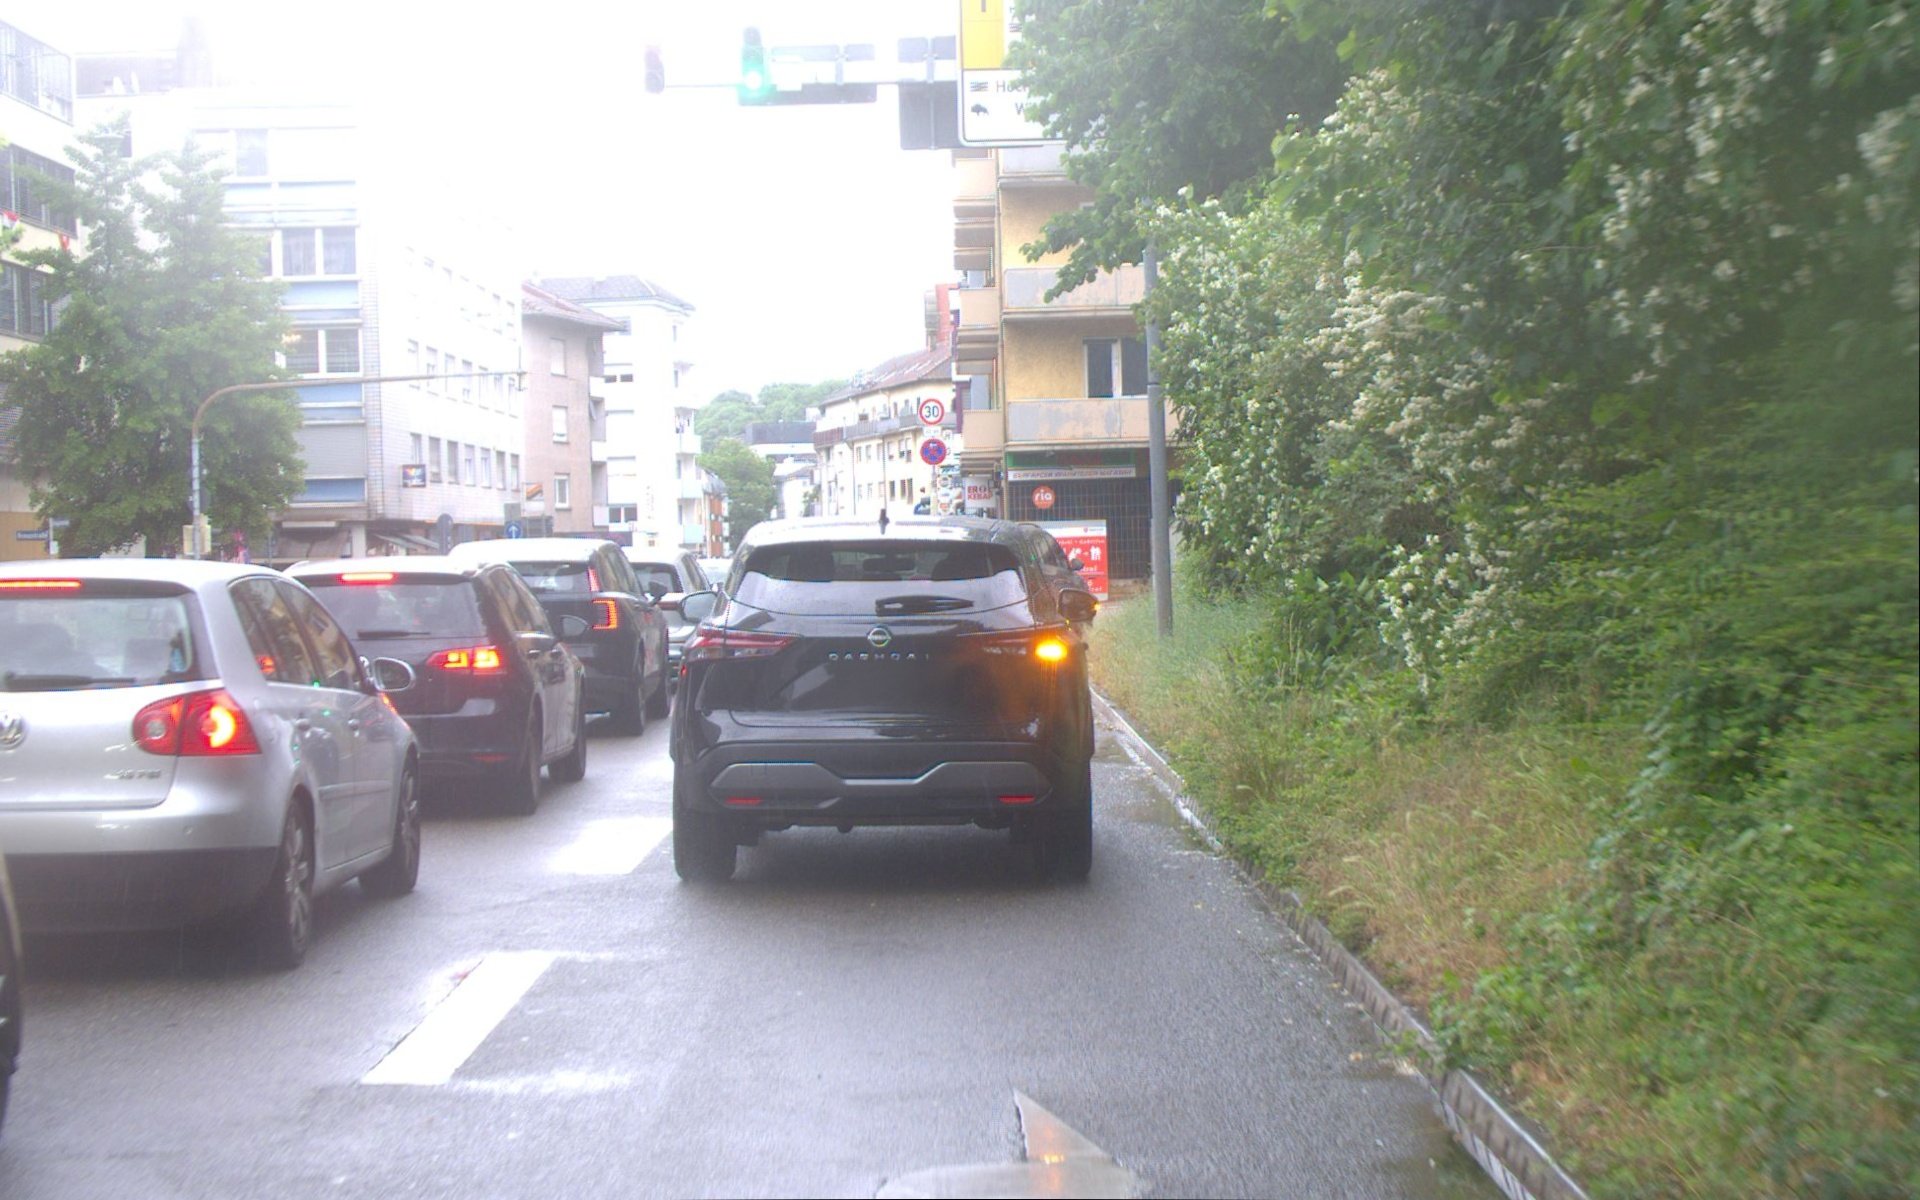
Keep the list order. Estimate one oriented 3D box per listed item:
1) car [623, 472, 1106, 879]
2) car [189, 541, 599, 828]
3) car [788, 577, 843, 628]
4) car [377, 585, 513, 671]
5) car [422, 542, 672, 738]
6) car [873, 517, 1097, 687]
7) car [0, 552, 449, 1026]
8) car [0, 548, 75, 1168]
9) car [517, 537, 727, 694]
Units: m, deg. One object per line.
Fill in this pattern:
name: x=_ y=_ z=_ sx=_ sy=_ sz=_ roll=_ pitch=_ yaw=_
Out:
car: x=-0.449 y=0.265 z=16.075 sx=1.959 sy=1.647 sz=4.001 roll=-1 pitch=1 yaw=-2
car: x=-3.219 y=0.418 z=20.277 sx=1.755 sy=1.448 sz=4.000 roll=-2 pitch=1 yaw=-1
car: x=-6.136 y=0.086 z=146.328 sx=1.993 sy=2.007 sz=4.000 roll=-3 pitch=1 yaw=1
car: x=-10.763 y=0.567 z=72.139 sx=1.994 sy=1.489 sz=4.088 roll=-5 pitch=1 yaw=2
car: x=-3.249 y=0.266 z=27.664 sx=1.613 sy=1.415 sz=3.967 roll=-1 pitch=1 yaw=-2
car: x=0.378 y=-0.019 z=43.669 sx=1.994 sy=2.007 sz=3.998 roll=-1 pitch=1 yaw=13
car: x=-3.132 y=0.596 z=13.173 sx=1.744 sy=1.482 sz=4.162 roll=-2 pitch=1 yaw=-1
car: x=-3.310 y=0.678 z=6.507 sx=2.066 sy=1.459 sz=4.587 roll=-1 pitch=1 yaw=0
car: x=-3.402 y=0.111 z=35.245 sx=1.767 sy=1.439 sz=4.000 roll=-2 pitch=1 yaw=-1
